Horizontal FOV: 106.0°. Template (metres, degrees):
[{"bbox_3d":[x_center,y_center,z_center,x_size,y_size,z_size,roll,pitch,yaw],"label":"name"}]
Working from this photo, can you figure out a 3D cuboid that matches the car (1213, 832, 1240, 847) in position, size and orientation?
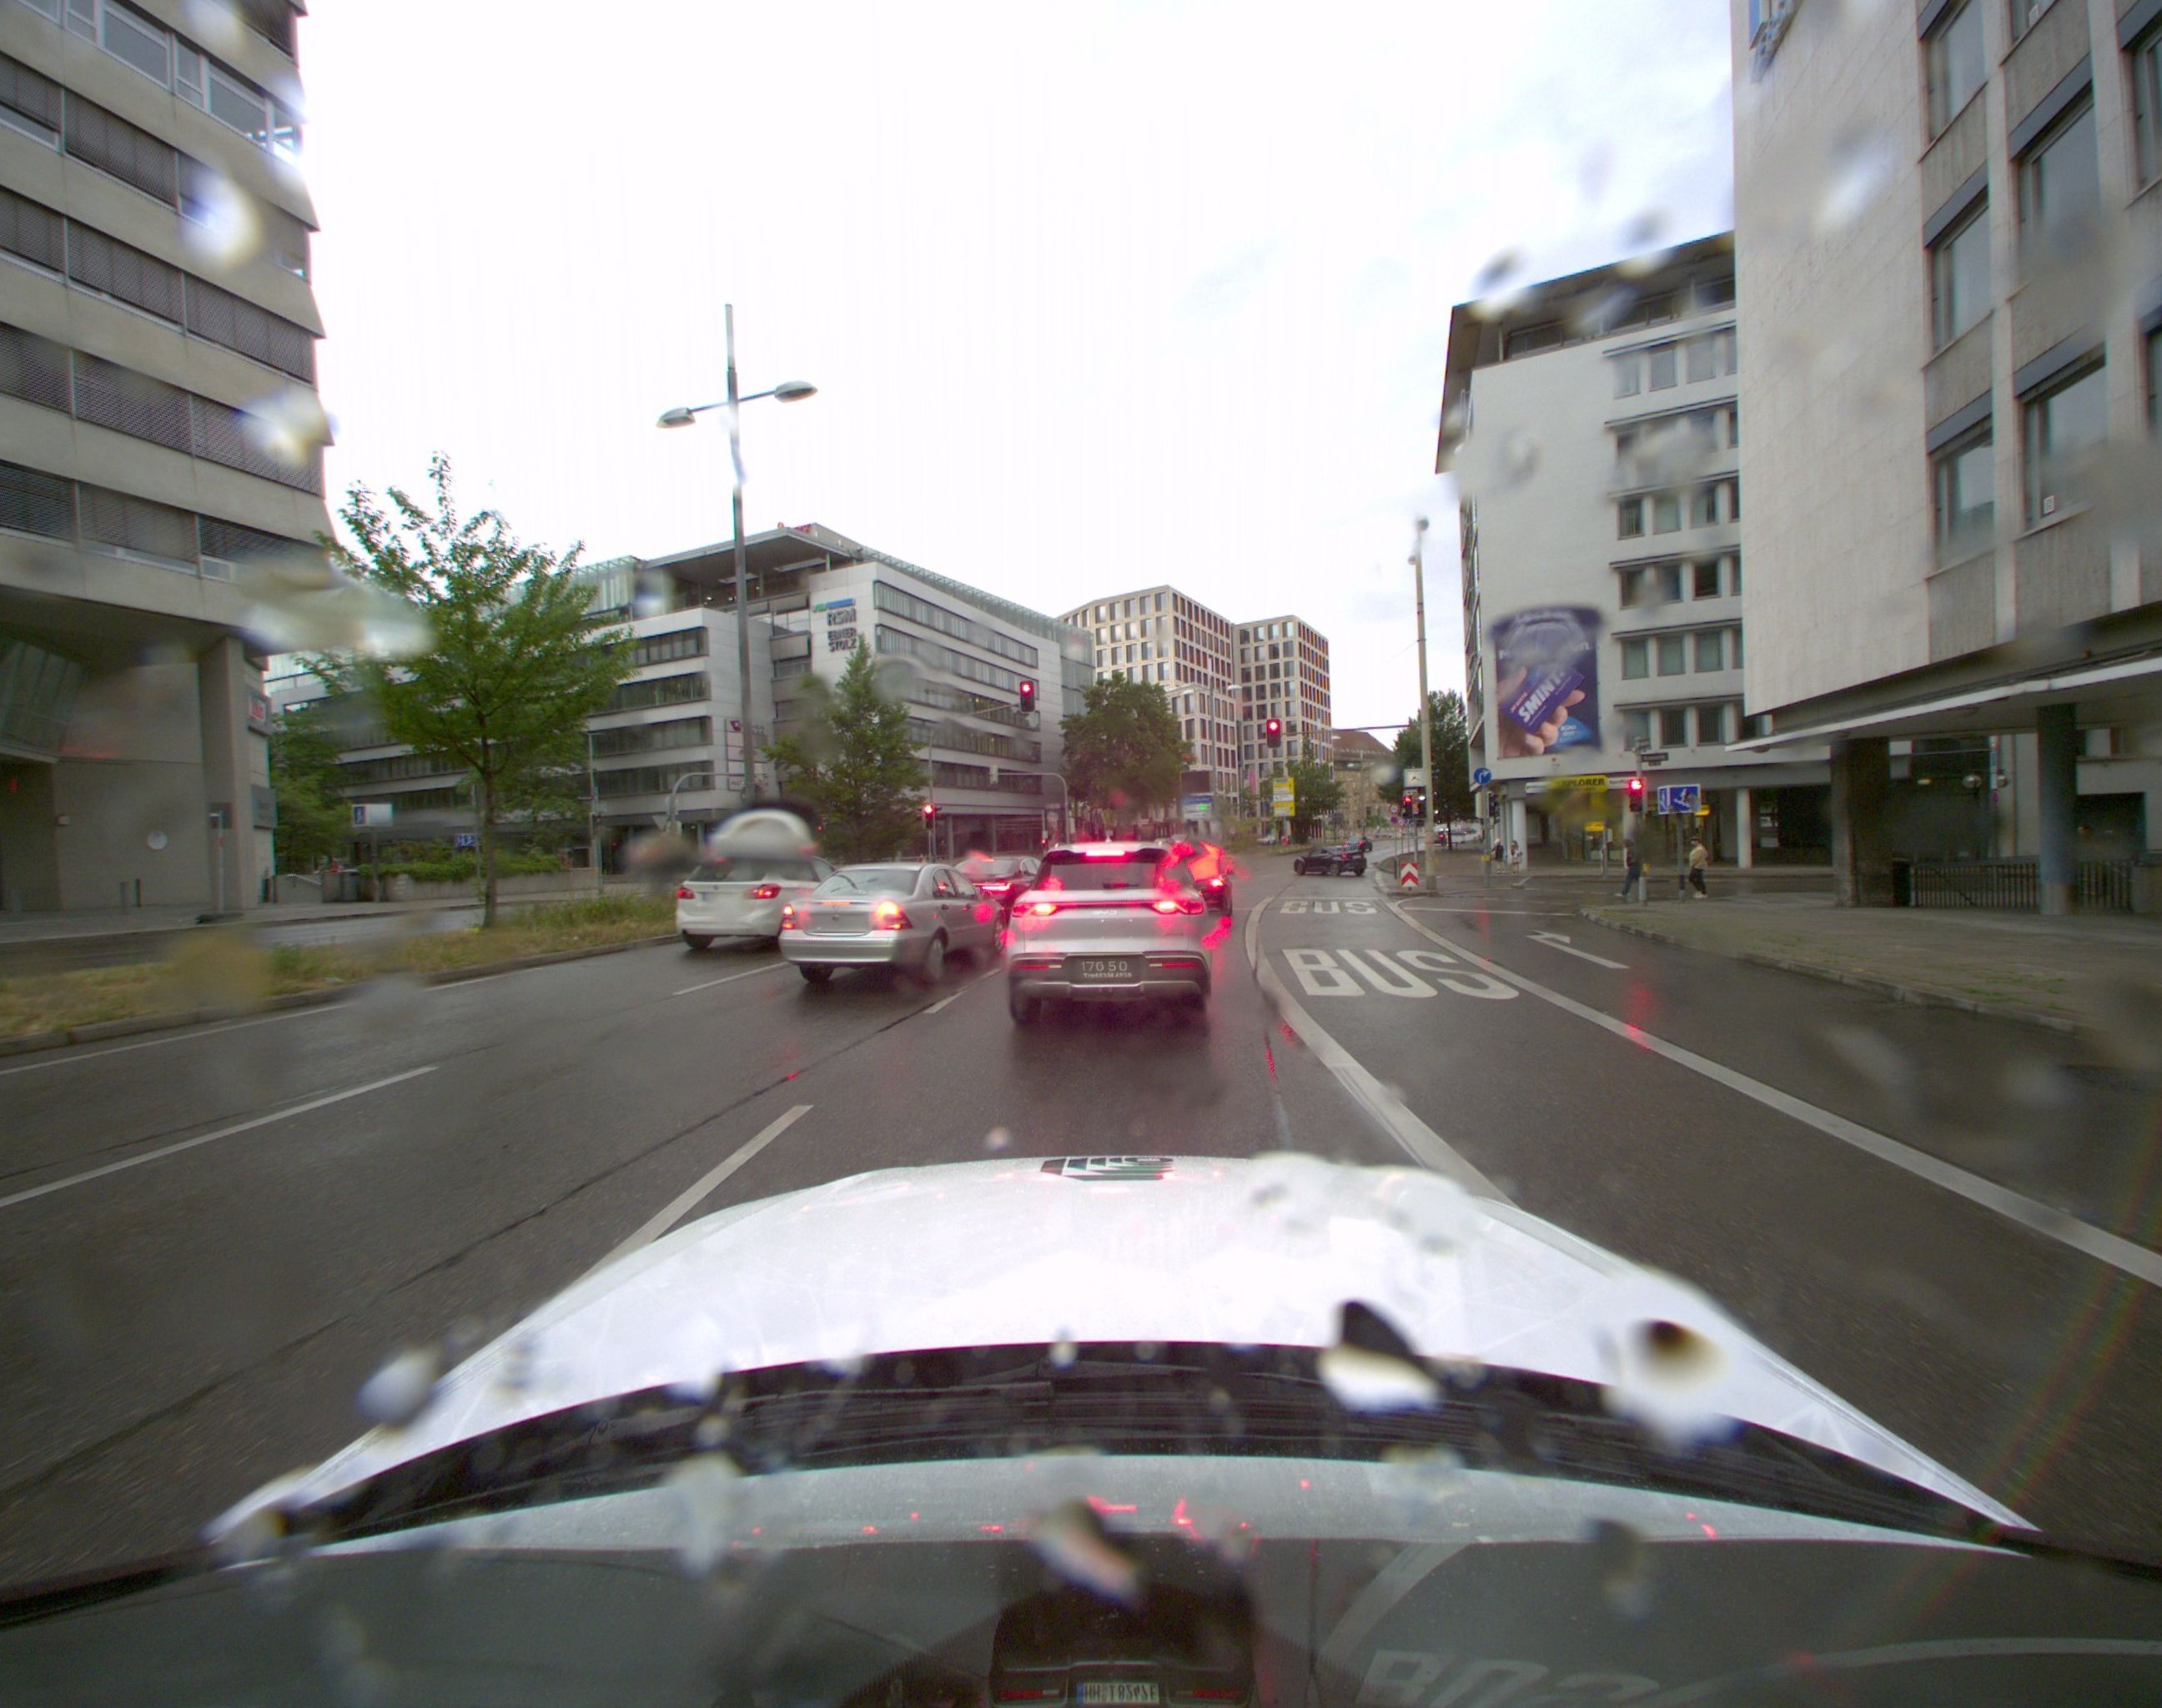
[{"bbox_3d":[18.082,-1.760,101.079,1.974,1.705,4.026,0,2,32],"label":"car"}]

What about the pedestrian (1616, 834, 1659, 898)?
[{"bbox_3d":[15.826,0.334,23.183,0.806,1.798,0.714,-2,0,18],"label":"pedestrian"}]

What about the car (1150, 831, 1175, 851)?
[{"bbox_3d":[9.219,-1.467,92.057,1.722,2.161,4.517,0,0,21],"label":"car"}]

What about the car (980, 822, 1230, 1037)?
[{"bbox_3d":[0.451,0.596,8.825,1.983,1.709,4.491,-2,0,7],"label":"car"}]

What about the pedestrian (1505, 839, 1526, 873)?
[{"bbox_3d":[20.177,0.099,37.851,0.721,1.524,0.763,-2,-1,18],"label":"pedestrian"}]

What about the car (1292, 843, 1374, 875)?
[{"bbox_3d":[12.956,0.228,42.054,2.002,1.552,3.970,-1,1,-22],"label":"car"}]

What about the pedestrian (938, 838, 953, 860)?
[{"bbox_3d":[-10.871,-0.422,65.363,0.720,1.727,0.930,-2,0,24],"label":"pedestrian"}]

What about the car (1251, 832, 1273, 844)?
[{"bbox_3d":[26.837,-2.375,120.561,1.974,1.705,4.336,-1,2,30],"label":"car"}]

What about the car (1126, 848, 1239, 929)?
[{"bbox_3d":[2.325,0.664,17.647,1.941,1.530,4.015,-1,0,14],"label":"car"}]

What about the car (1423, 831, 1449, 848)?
[{"bbox_3d":[37.495,-1.527,86.000,2.027,1.765,4.383,0,1,29],"label":"car"}]

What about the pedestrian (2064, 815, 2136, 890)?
[{"bbox_3d":[24.596,-0.028,19.677,0.800,1.755,1.005,-1,0,-43],"label":"pedestrian"}]

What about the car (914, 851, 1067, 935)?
[{"bbox_3d":[-1.758,0.727,17.298,1.941,1.530,4.015,-1,0,14],"label":"car"}]

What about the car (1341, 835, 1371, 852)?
[{"bbox_3d":[25.047,-0.972,74.103,1.892,1.510,4.383,0,1,28],"label":"car"}]

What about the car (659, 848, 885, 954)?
[{"bbox_3d":[-5.242,0.707,14.547,1.772,1.573,4.300,-2,0,10],"label":"car"}]

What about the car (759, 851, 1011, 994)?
[{"bbox_3d":[-2.326,0.748,10.912,1.671,1.486,4.209,-2,0,10],"label":"car"}]

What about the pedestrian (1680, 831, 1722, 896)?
[{"bbox_3d":[17.671,0.265,23.234,0.721,1.798,0.742,-2,0,18],"label":"pedestrian"}]

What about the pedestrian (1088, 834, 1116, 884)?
[{"bbox_3d":[0.751,0.174,29.466,0.919,1.738,0.729,-2,0,-3],"label":"pedestrian"}]

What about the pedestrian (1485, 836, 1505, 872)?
[{"bbox_3d":[19.548,0.018,38.474,0.721,1.668,0.694,-2,-1,18],"label":"pedestrian"}]
